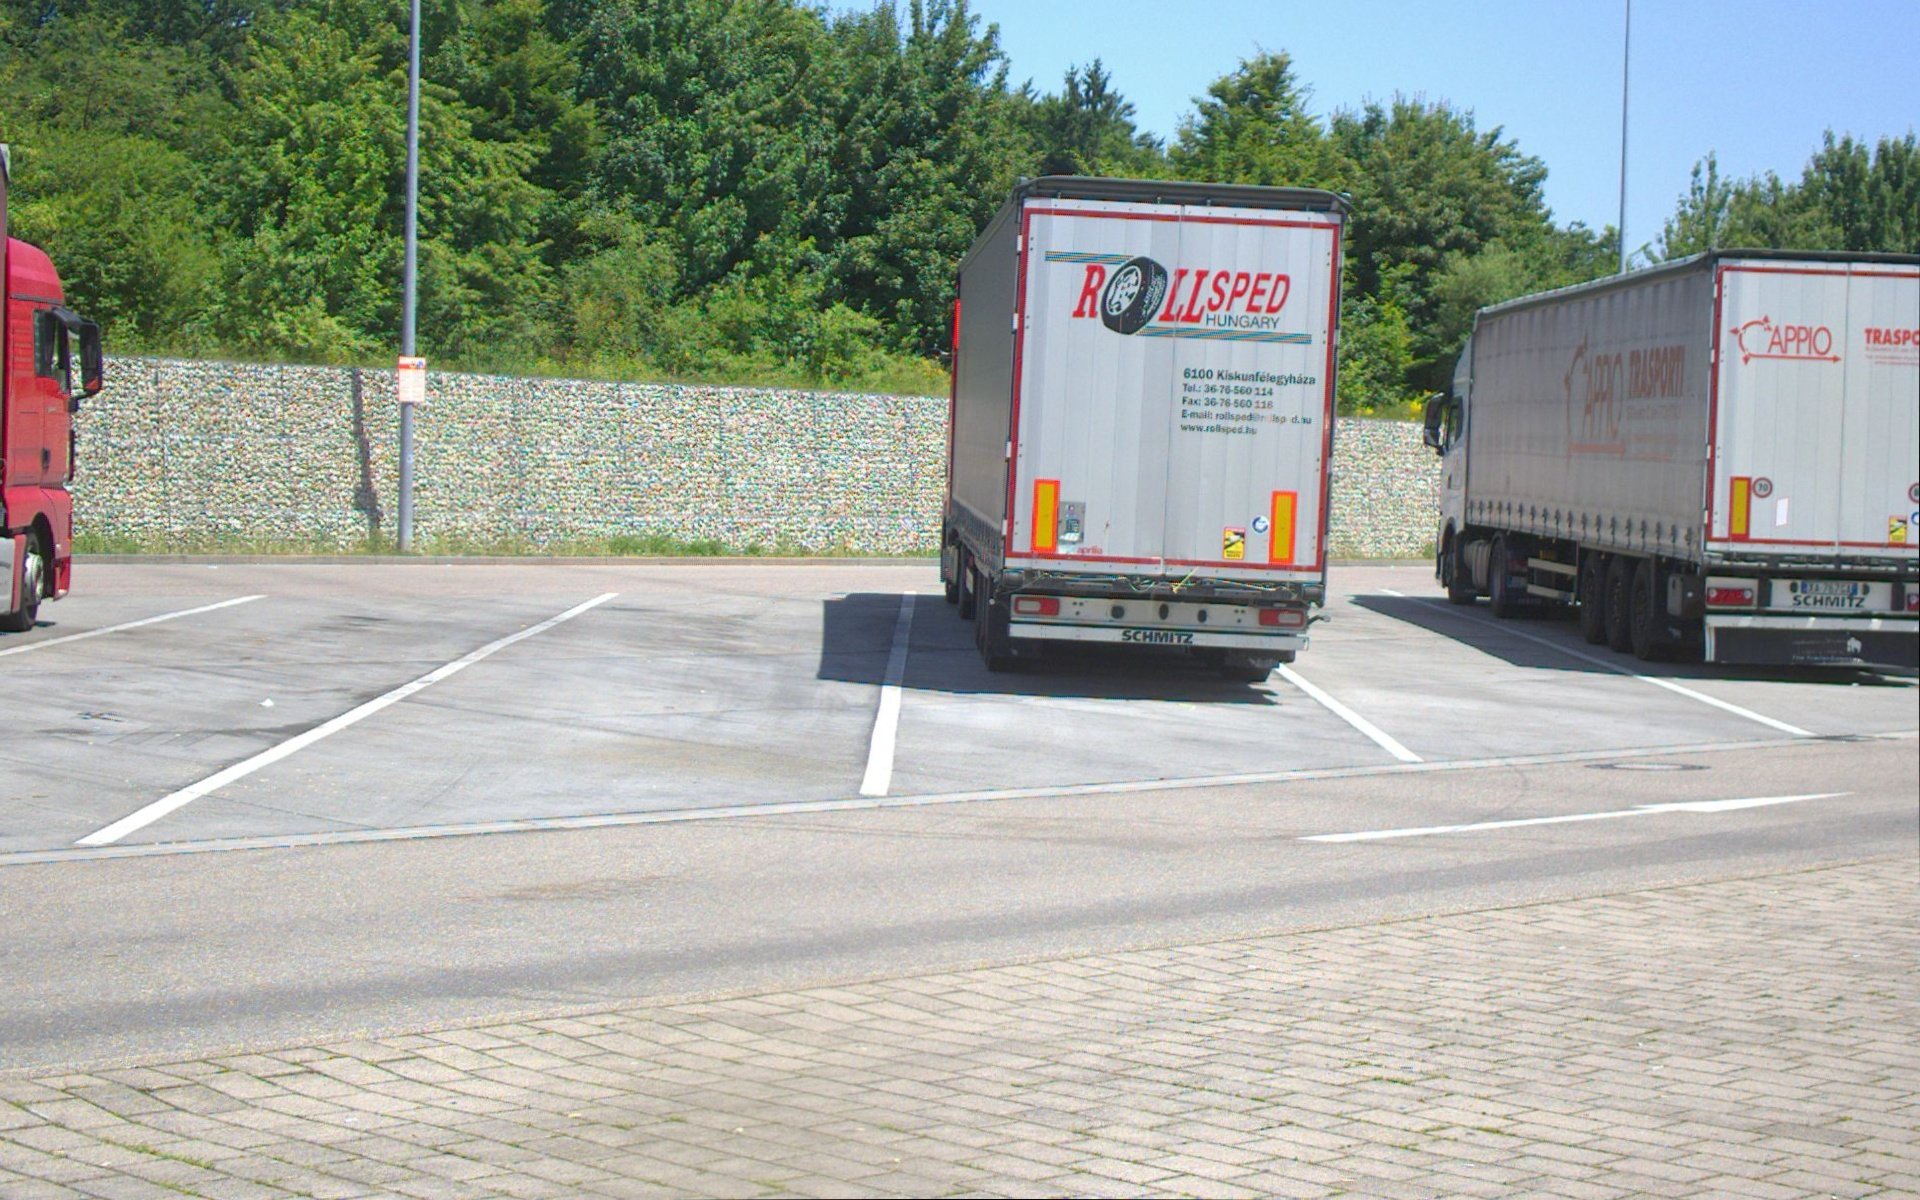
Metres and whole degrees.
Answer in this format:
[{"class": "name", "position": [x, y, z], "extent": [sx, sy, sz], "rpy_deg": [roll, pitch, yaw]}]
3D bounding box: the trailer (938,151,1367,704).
[{"class": "trailer", "position": [1.427, -1.623, 33.197], "extent": [2.906, 4.118, 13.725], "rpy_deg": [2, 3, -1]}]

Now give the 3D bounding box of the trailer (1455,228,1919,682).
[{"class": "trailer", "position": [8.144, -1.629, 38.687], "extent": [2.838, 4.118, 13.724], "rpy_deg": [2, 3, -1]}]

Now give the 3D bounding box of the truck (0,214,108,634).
[{"class": "truck", "position": [-9.249, -1.506, 28.740], "extent": [2.852, 3.416, 5.483], "rpy_deg": [2, 2, -1]}]

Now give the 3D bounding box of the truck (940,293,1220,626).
[{"class": "truck", "position": [1.278, -1.631, 39.810], "extent": [2.852, 3.472, 5.483], "rpy_deg": [2, 2, -1]}]

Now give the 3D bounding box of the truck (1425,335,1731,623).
[{"class": "truck", "position": [8.051, -1.628, 45.500], "extent": [2.852, 3.472, 5.483], "rpy_deg": [2, 2, -1]}]

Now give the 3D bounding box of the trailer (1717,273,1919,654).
[{"class": "trailer", "position": [11.781, -1.532, 39.440], "extent": [2.838, 4.118, 13.724], "rpy_deg": [2, 3, -1]}]

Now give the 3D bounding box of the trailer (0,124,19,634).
[{"class": "trailer", "position": [-9.159, -1.489, 21.301], "extent": [2.906, 4.118, 13.725], "rpy_deg": [2, 3, -1]}]
